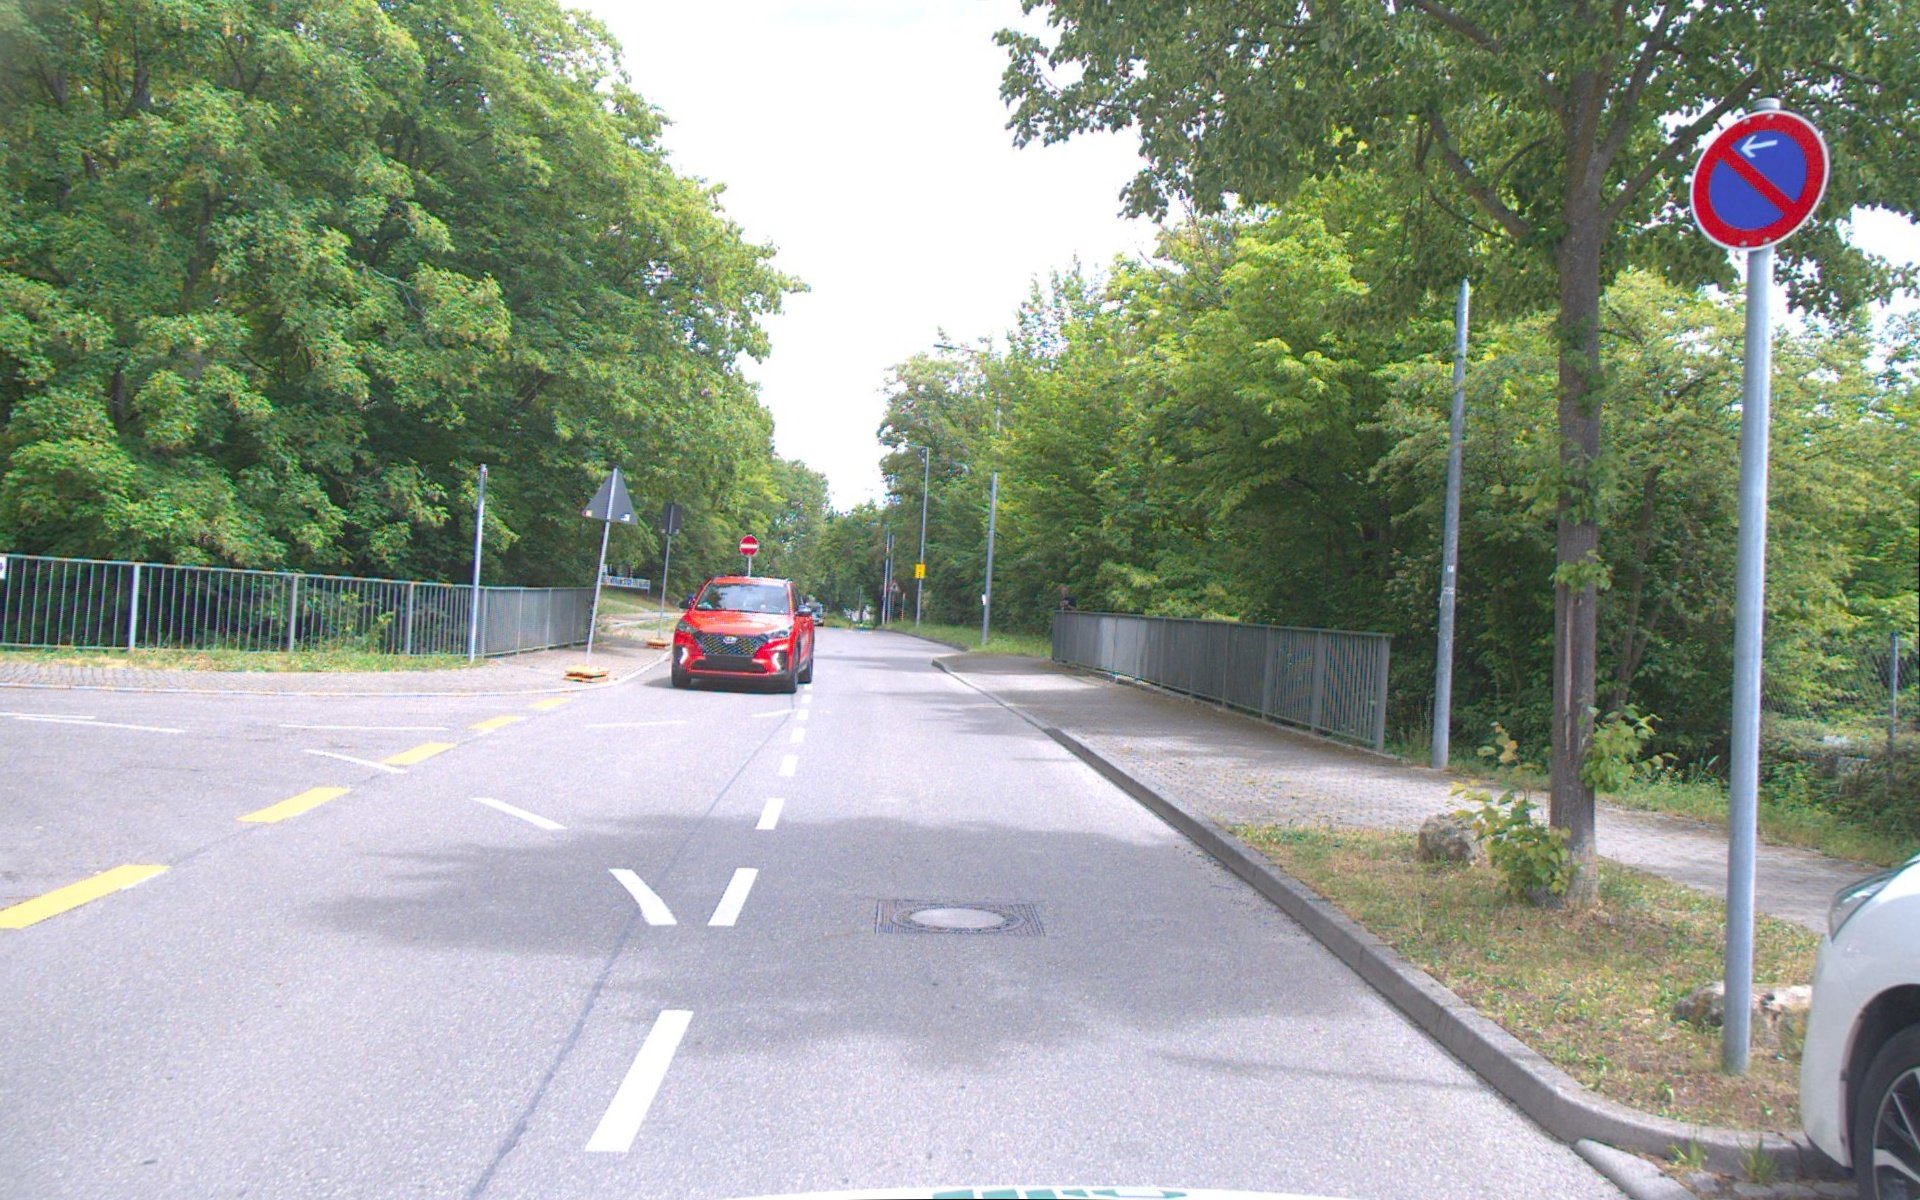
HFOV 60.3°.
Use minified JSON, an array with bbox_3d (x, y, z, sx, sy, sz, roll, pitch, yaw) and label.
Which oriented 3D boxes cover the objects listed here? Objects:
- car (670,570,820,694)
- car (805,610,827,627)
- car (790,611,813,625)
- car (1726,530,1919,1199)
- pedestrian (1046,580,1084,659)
[{"bbox_3d":[-3.197,0.442,25.367,1.806,1.687,4.220,2,0,-2],"label":"car"},{"bbox_3d":[-12.589,1.643,144.690,1.659,1.372,4.092,3,0,-2],"label":"car"},{"bbox_3d":[-17.542,2.029,183.657,1.938,1.407,4.001,4,-1,2],"label":"car"},{"bbox_3d":[2.930,0.697,2.051,1.768,1.628,4.370,1,0,-2],"label":"car"},{"bbox_3d":[2.479,0.460,38.935,0.579,1.814,0.677,3,-2,-25],"label":"pedestrian"}]
